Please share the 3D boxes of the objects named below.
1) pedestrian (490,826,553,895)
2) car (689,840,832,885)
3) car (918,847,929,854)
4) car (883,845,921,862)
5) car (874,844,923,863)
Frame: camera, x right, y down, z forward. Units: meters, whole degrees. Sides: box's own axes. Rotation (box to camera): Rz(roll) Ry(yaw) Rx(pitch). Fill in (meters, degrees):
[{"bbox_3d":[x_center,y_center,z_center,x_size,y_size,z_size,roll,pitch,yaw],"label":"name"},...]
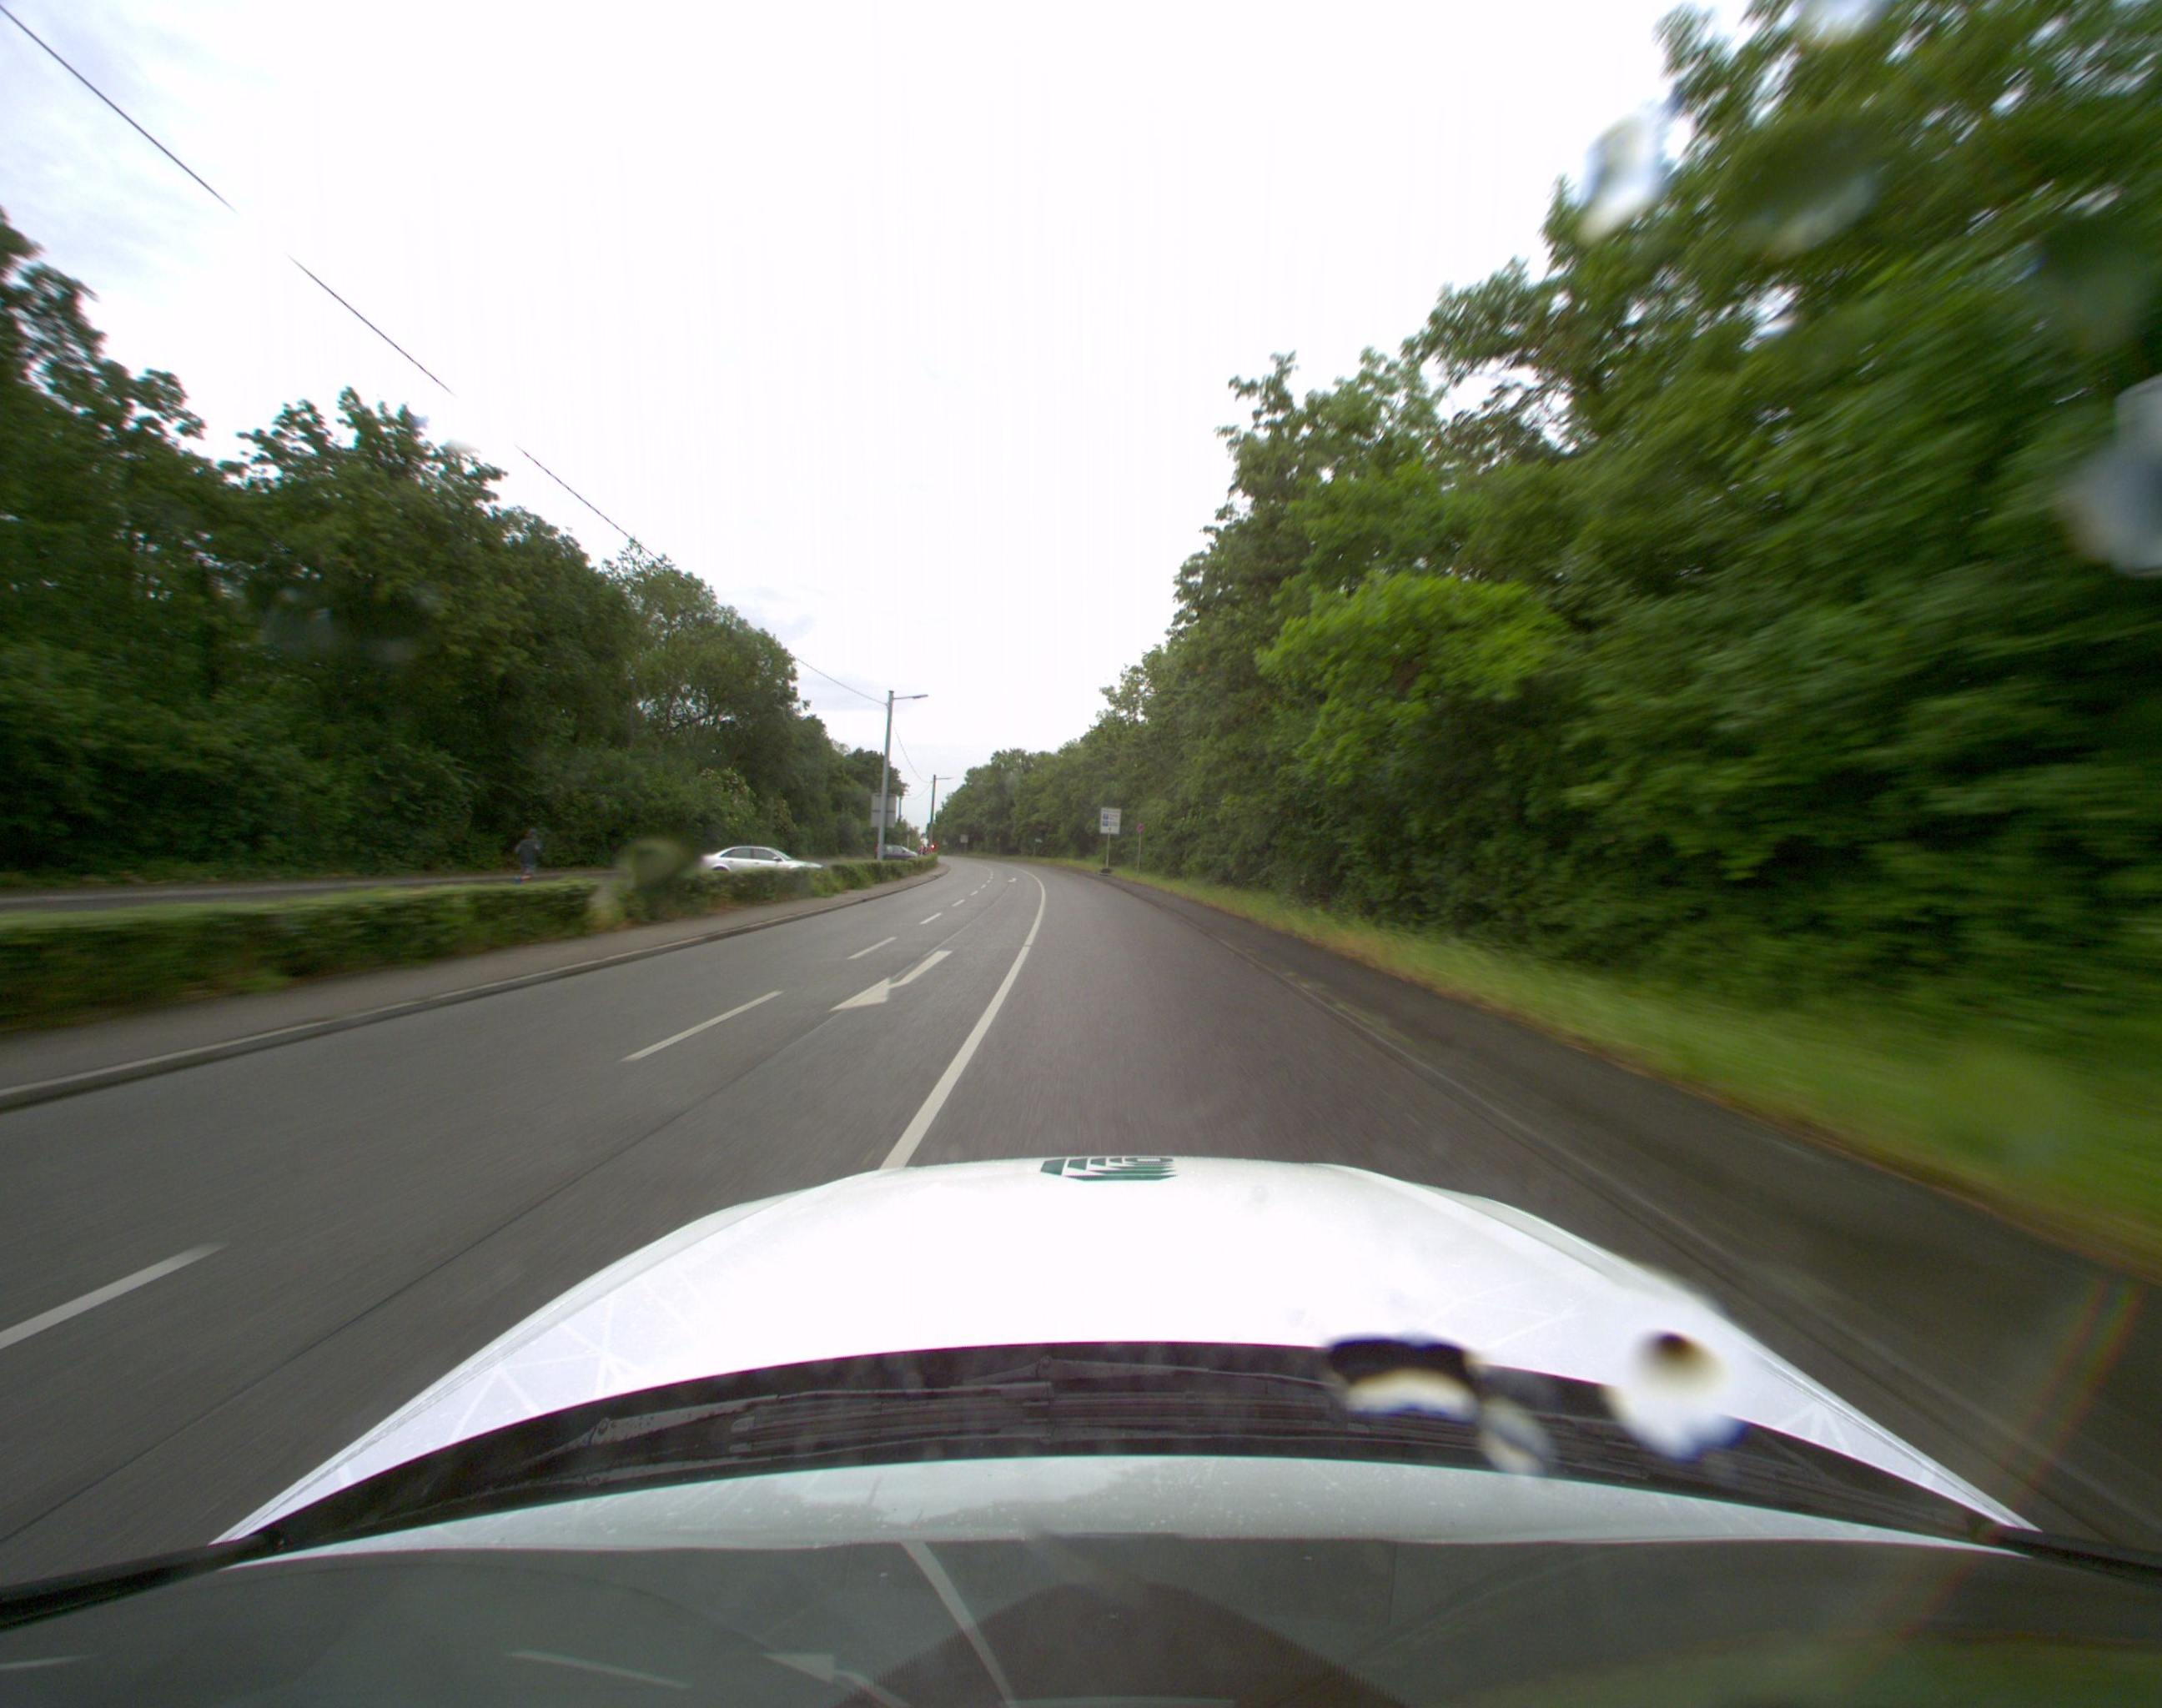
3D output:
[{"bbox_3d":[-14.980,0.167,21.837,0.813,1.797,1.136,1,0,3],"label":"pedestrian"},{"bbox_3d":[-11.807,0.317,30.336,4.574,1.506,1.994,1,0,-9],"label":"car"},{"bbox_3d":[-34.358,-0.847,177.514,1.938,1.498,4.297,1,0,-14],"label":"car"},{"bbox_3d":[-17.984,-0.035,81.862,3.648,1.591,1.844,1,0,-13],"label":"car"},{"bbox_3d":[-17.062,-0.056,76.299,4.285,1.708,1.996,1,0,-6],"label":"car"}]
